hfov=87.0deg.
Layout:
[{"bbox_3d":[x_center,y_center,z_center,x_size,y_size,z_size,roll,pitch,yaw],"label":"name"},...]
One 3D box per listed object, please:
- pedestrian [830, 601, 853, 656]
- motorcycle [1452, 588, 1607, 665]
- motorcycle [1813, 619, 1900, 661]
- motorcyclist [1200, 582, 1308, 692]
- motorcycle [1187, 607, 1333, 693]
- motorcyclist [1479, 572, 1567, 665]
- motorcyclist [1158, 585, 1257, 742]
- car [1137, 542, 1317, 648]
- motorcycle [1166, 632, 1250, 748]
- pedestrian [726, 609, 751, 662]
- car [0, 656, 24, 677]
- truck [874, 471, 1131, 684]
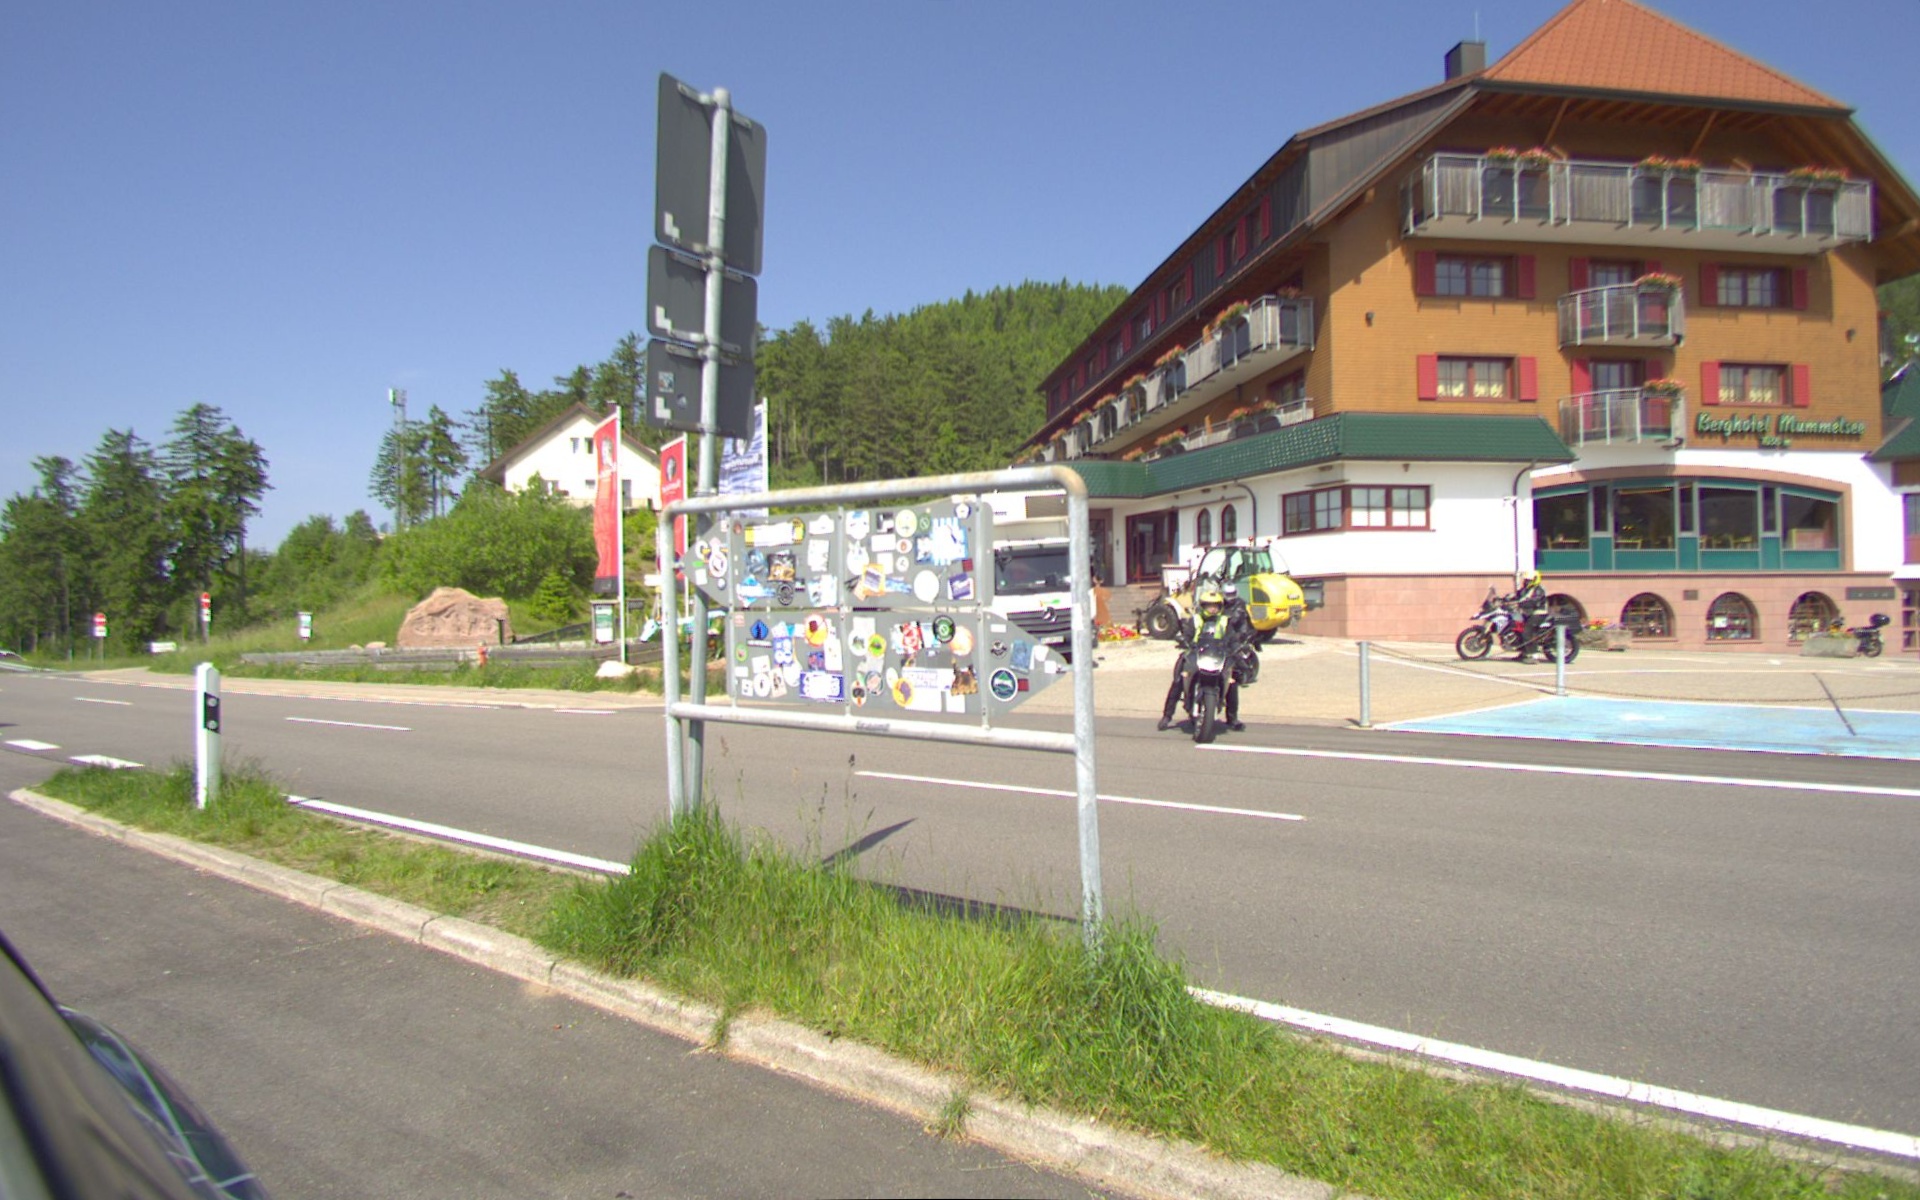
[{"bbox_3d":[-3.725,0.900,31.836,0.565,1.702,0.655,0,-2,-19],"label":"pedestrian"},{"bbox_3d":[10.969,0.496,19.590,2.421,1.417,1.001,0,2,15],"label":"motorcycle"},{"bbox_3d":[24.936,1.088,28.175,0.473,0.992,1.796,-7,4,-18],"label":"motorcycle"},{"bbox_3d":[4.945,0.591,17.041,1.427,1.730,0.929,-3,2,-19],"label":"motorcyclist"},{"bbox_3d":[5.062,0.814,17.069,2.238,1.266,0.882,-3,2,-19],"label":"motorcycle"},{"bbox_3d":[10.888,0.334,19.624,1.236,1.732,1.060,0,2,14],"label":"motorcyclist"},{"bbox_3d":[2.881,0.704,11.684,1.020,1.688,1.286,-1,-2,17],"label":"motorcyclist"},{"bbox_3d":[6.787,-0.132,25.936,3.998,2.515,1.973,1,0,41],"label":"car"},{"bbox_3d":[2.903,0.971,11.689,0.817,1.186,2.273,-1,-1,17],"label":"motorcycle"},{"bbox_3d":[-7.341,1.167,33.531,0.687,1.729,0.801,0,-2,-19],"label":"pedestrian"},{"bbox_3d":[-85.431,5.831,88.729,1.929,1.896,4.672,-3,-5,38],"label":"car"},{"bbox_3d":[0.531,-0.544,23.813,3.018,4.001,8.799,-3,2,-18],"label":"truck"}]
